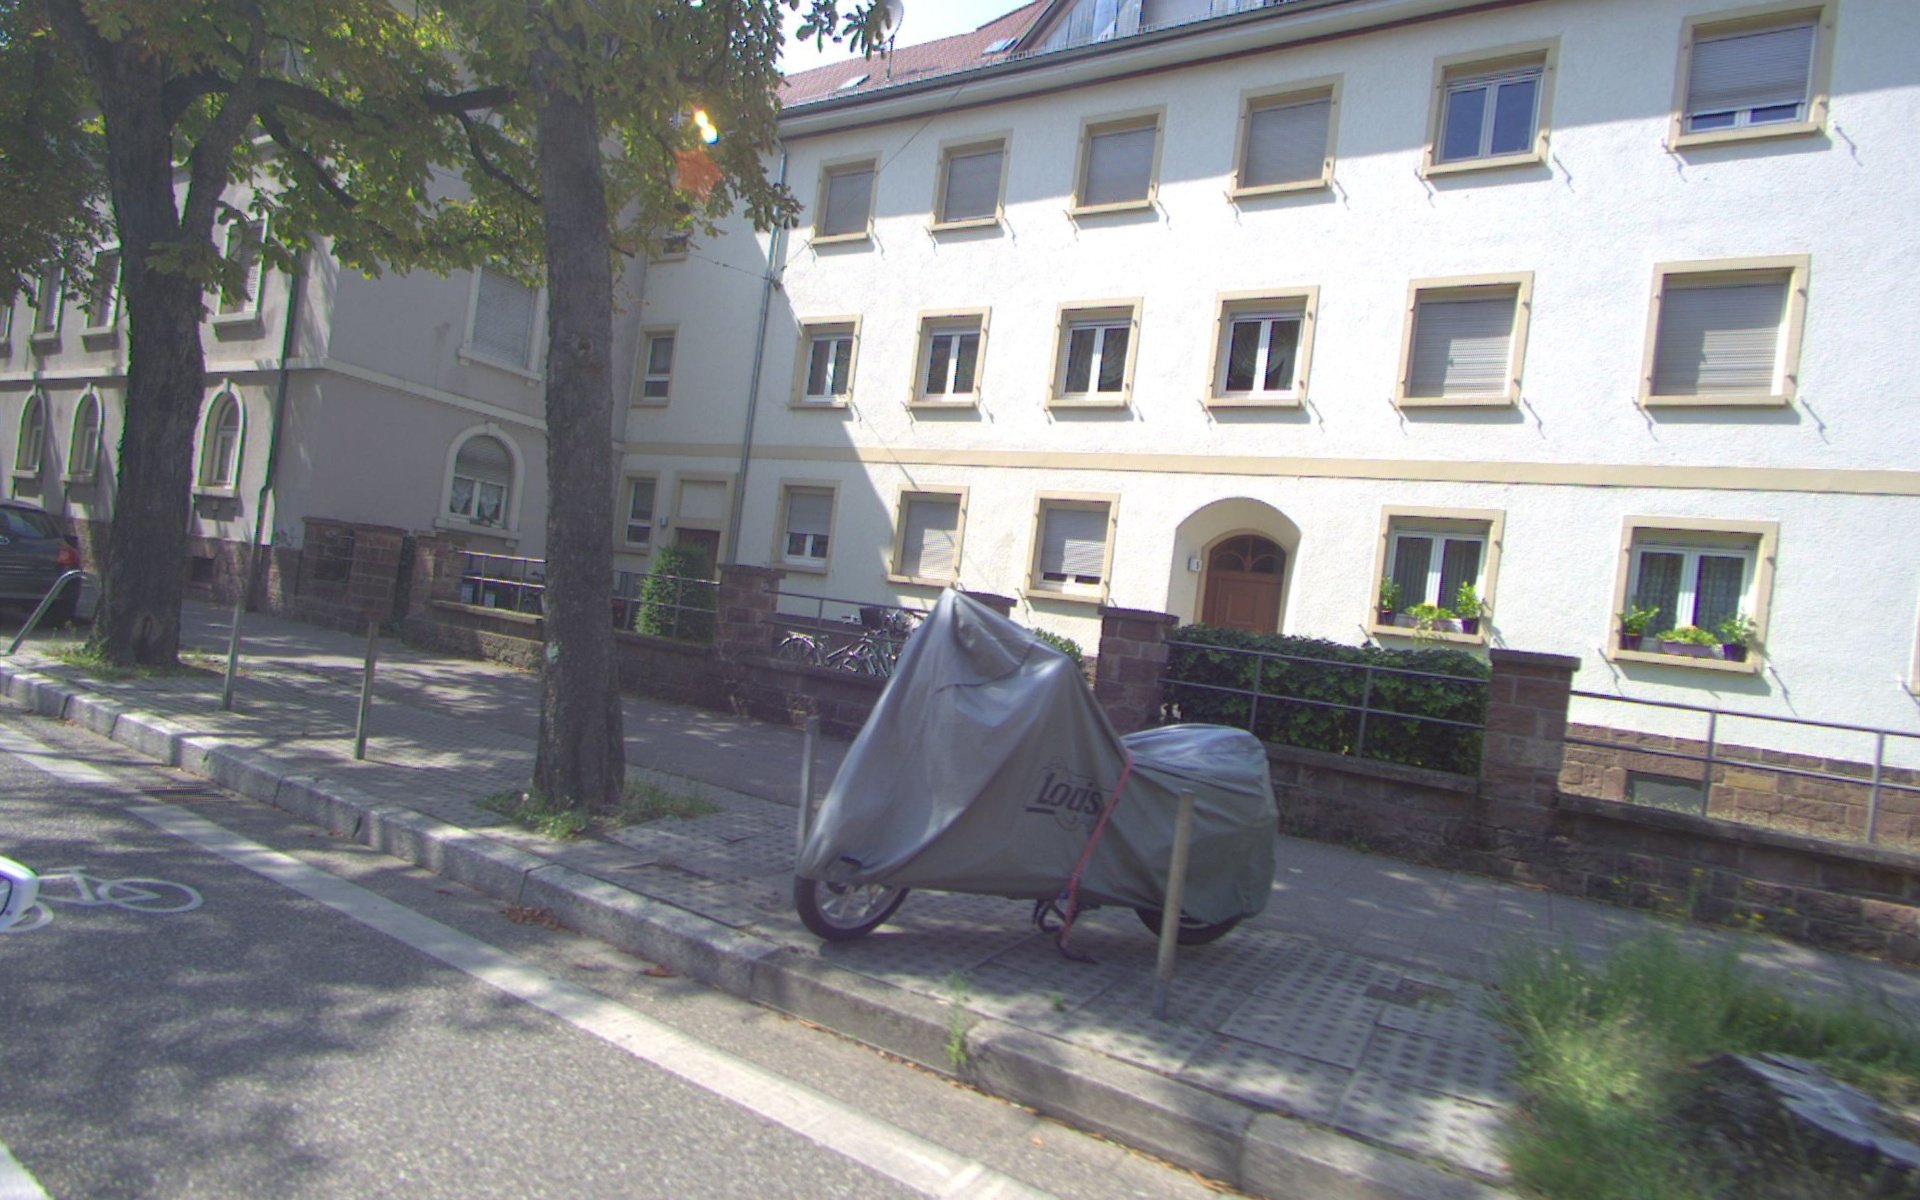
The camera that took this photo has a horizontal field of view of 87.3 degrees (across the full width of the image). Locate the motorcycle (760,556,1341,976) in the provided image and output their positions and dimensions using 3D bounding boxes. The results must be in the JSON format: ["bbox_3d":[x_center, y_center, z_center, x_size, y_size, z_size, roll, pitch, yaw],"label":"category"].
[{"bbox_3d":[0.378,0.716,4.542,2.311,1.559,0.965,5,0,-18],"label":"motorcycle"}]

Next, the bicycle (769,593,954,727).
[{"bbox_3d":[-1.282,0.729,12.723,2.331,1.374,0.594,6,-1,34],"label":"bicycle"}]

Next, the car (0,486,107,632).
[{"bbox_3d":[-12.751,-0.701,12.605,4.045,1.551,1.843,9,1,31],"label":"car"}]

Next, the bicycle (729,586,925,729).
[{"bbox_3d":[-1.598,0.644,11.815,2.331,1.374,0.594,6,-1,34],"label":"bicycle"}]
